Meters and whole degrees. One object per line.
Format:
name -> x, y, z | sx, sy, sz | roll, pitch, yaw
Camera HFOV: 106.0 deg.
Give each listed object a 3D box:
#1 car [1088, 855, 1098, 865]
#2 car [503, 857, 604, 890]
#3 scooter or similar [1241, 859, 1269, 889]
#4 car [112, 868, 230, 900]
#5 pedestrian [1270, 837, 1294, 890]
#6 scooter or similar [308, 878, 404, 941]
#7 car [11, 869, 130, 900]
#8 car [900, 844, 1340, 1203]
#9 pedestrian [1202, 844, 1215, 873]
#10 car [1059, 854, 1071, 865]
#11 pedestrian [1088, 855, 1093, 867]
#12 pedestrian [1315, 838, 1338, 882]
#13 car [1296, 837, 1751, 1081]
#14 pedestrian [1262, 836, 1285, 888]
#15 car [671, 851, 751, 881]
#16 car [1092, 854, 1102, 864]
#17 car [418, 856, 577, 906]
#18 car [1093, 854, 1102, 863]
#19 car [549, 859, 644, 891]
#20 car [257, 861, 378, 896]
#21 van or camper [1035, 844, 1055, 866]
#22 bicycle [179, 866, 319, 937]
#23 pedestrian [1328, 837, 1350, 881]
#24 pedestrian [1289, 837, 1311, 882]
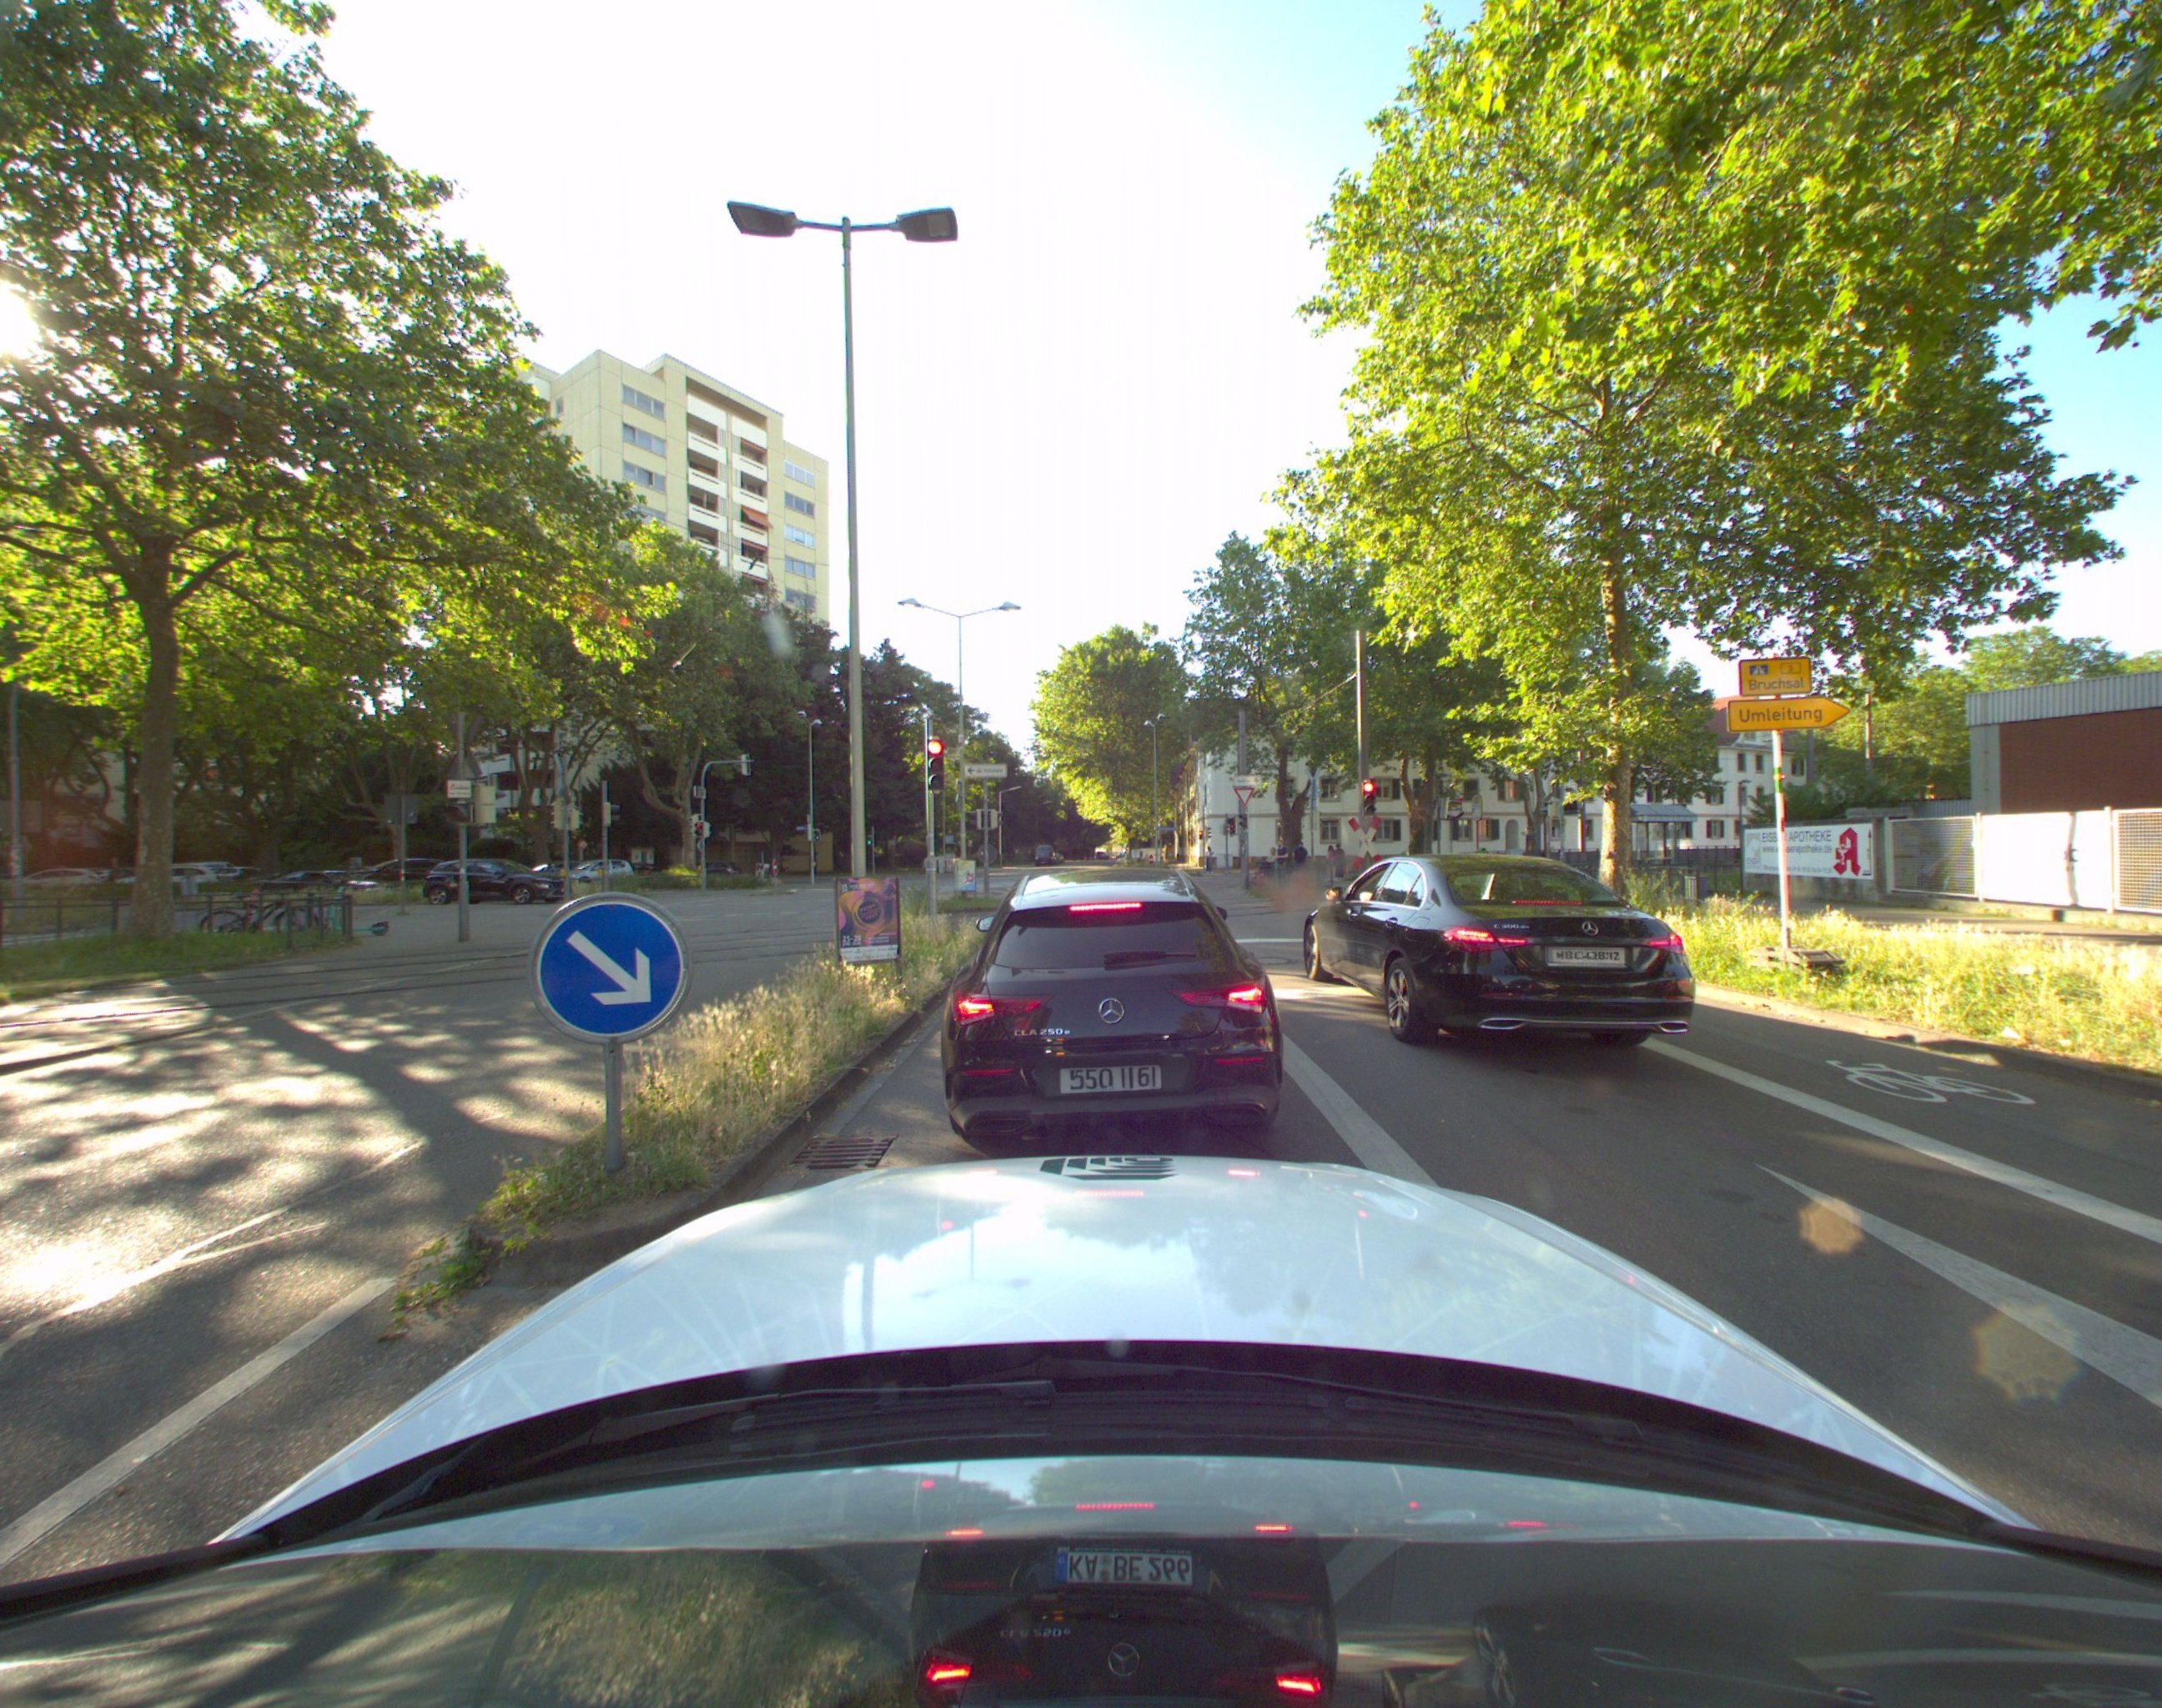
car -> 2.102, 1.009, 145.734 | 1.727, 1.765, 4.020 | 0, -1, 2
car -> -27.204, 0.978, 42.149 | 1.716, 1.596, 4.025 | -1, -1, 32
scooter or similar -> 6.495, 0.728, 30.365 | 0.826, 1.104, 0.808 | 0, -1, -4
car -> -49.162, 1.592, 44.069 | 1.716, 1.596, 4.025 | -1, -1, 32
pedestrian -> 7.410, 0.344, 30.081 | 0.680, 1.918, 0.707 | 0, -1, 0
scooter or similar -> -15.095, 1.132, 16.980 | 0.408, 1.239, 1.450 | -1, -1, 40
car -> -57.102, 1.671, 46.072 | 1.716, 1.596, 4.025 | -1, -1, 32
car -> 0.277, 0.704, 5.502 | 1.881, 1.450, 4.004 | 0, 2, 3
pedestrian -> 8.611, 0.308, 55.114 | 0.703, 1.918, 0.838 | 0, -1, -2
car -> -2.473, 0.829, 126.674 | 1.727, 1.765, 3.972 | 0, -1, 2
pedestrian -> 1.536, 1.053, 130.198 | 0.704, 1.918, 0.837 | 0, -1, -8
pedestrian -> 10.720, 0.259, 35.557 | 0.703, 1.918, 0.838 | 0, -1, -2
car -> 3.372, 0.624, 7.360 | 1.882, 1.490, 4.385 | 0, 2, 2
pedestrian -> 7.286, 0.299, 30.857 | 0.681, 1.918, 0.707 | 0, -1, -2
car -> -22.642, 0.749, 49.923 | 3.963, 1.774, 2.005 | -1, -1, 9
car -> 2.913, 0.981, 150.539 | 1.727, 1.765, 4.020 | 0, -1, 2
car -> -19.436, 0.885, 27.280 | 3.981, 1.596, 1.735 | 0, -1, -5
car -> 3.244, 0.902, 158.621 | 1.727, 1.765, 4.020 | 0, -1, 2
car -> -24.925, 1.050, 42.025 | 1.716, 1.596, 3.831 | -1, -1, 32
car -> -37.416, 1.150, 39.996 | 1.716, 1.596, 4.025 | -1, -1, 32
van or camper -> -4.420, 0.131, 100.048 | 1.986, 2.541, 4.653 | 0, -1, 2
bicycle -> -15.955, 0.886, 15.668 | 1.845, 1.307, 0.380 | 0, -1, -26
pedestrian -> 11.571, 0.231, 36.537 | 0.703, 1.918, 0.838 | 0, -1, -2
pedestrian -> 9.375, 0.244, 34.919 | 0.703, 1.918, 0.838 | 0, -1, -2
